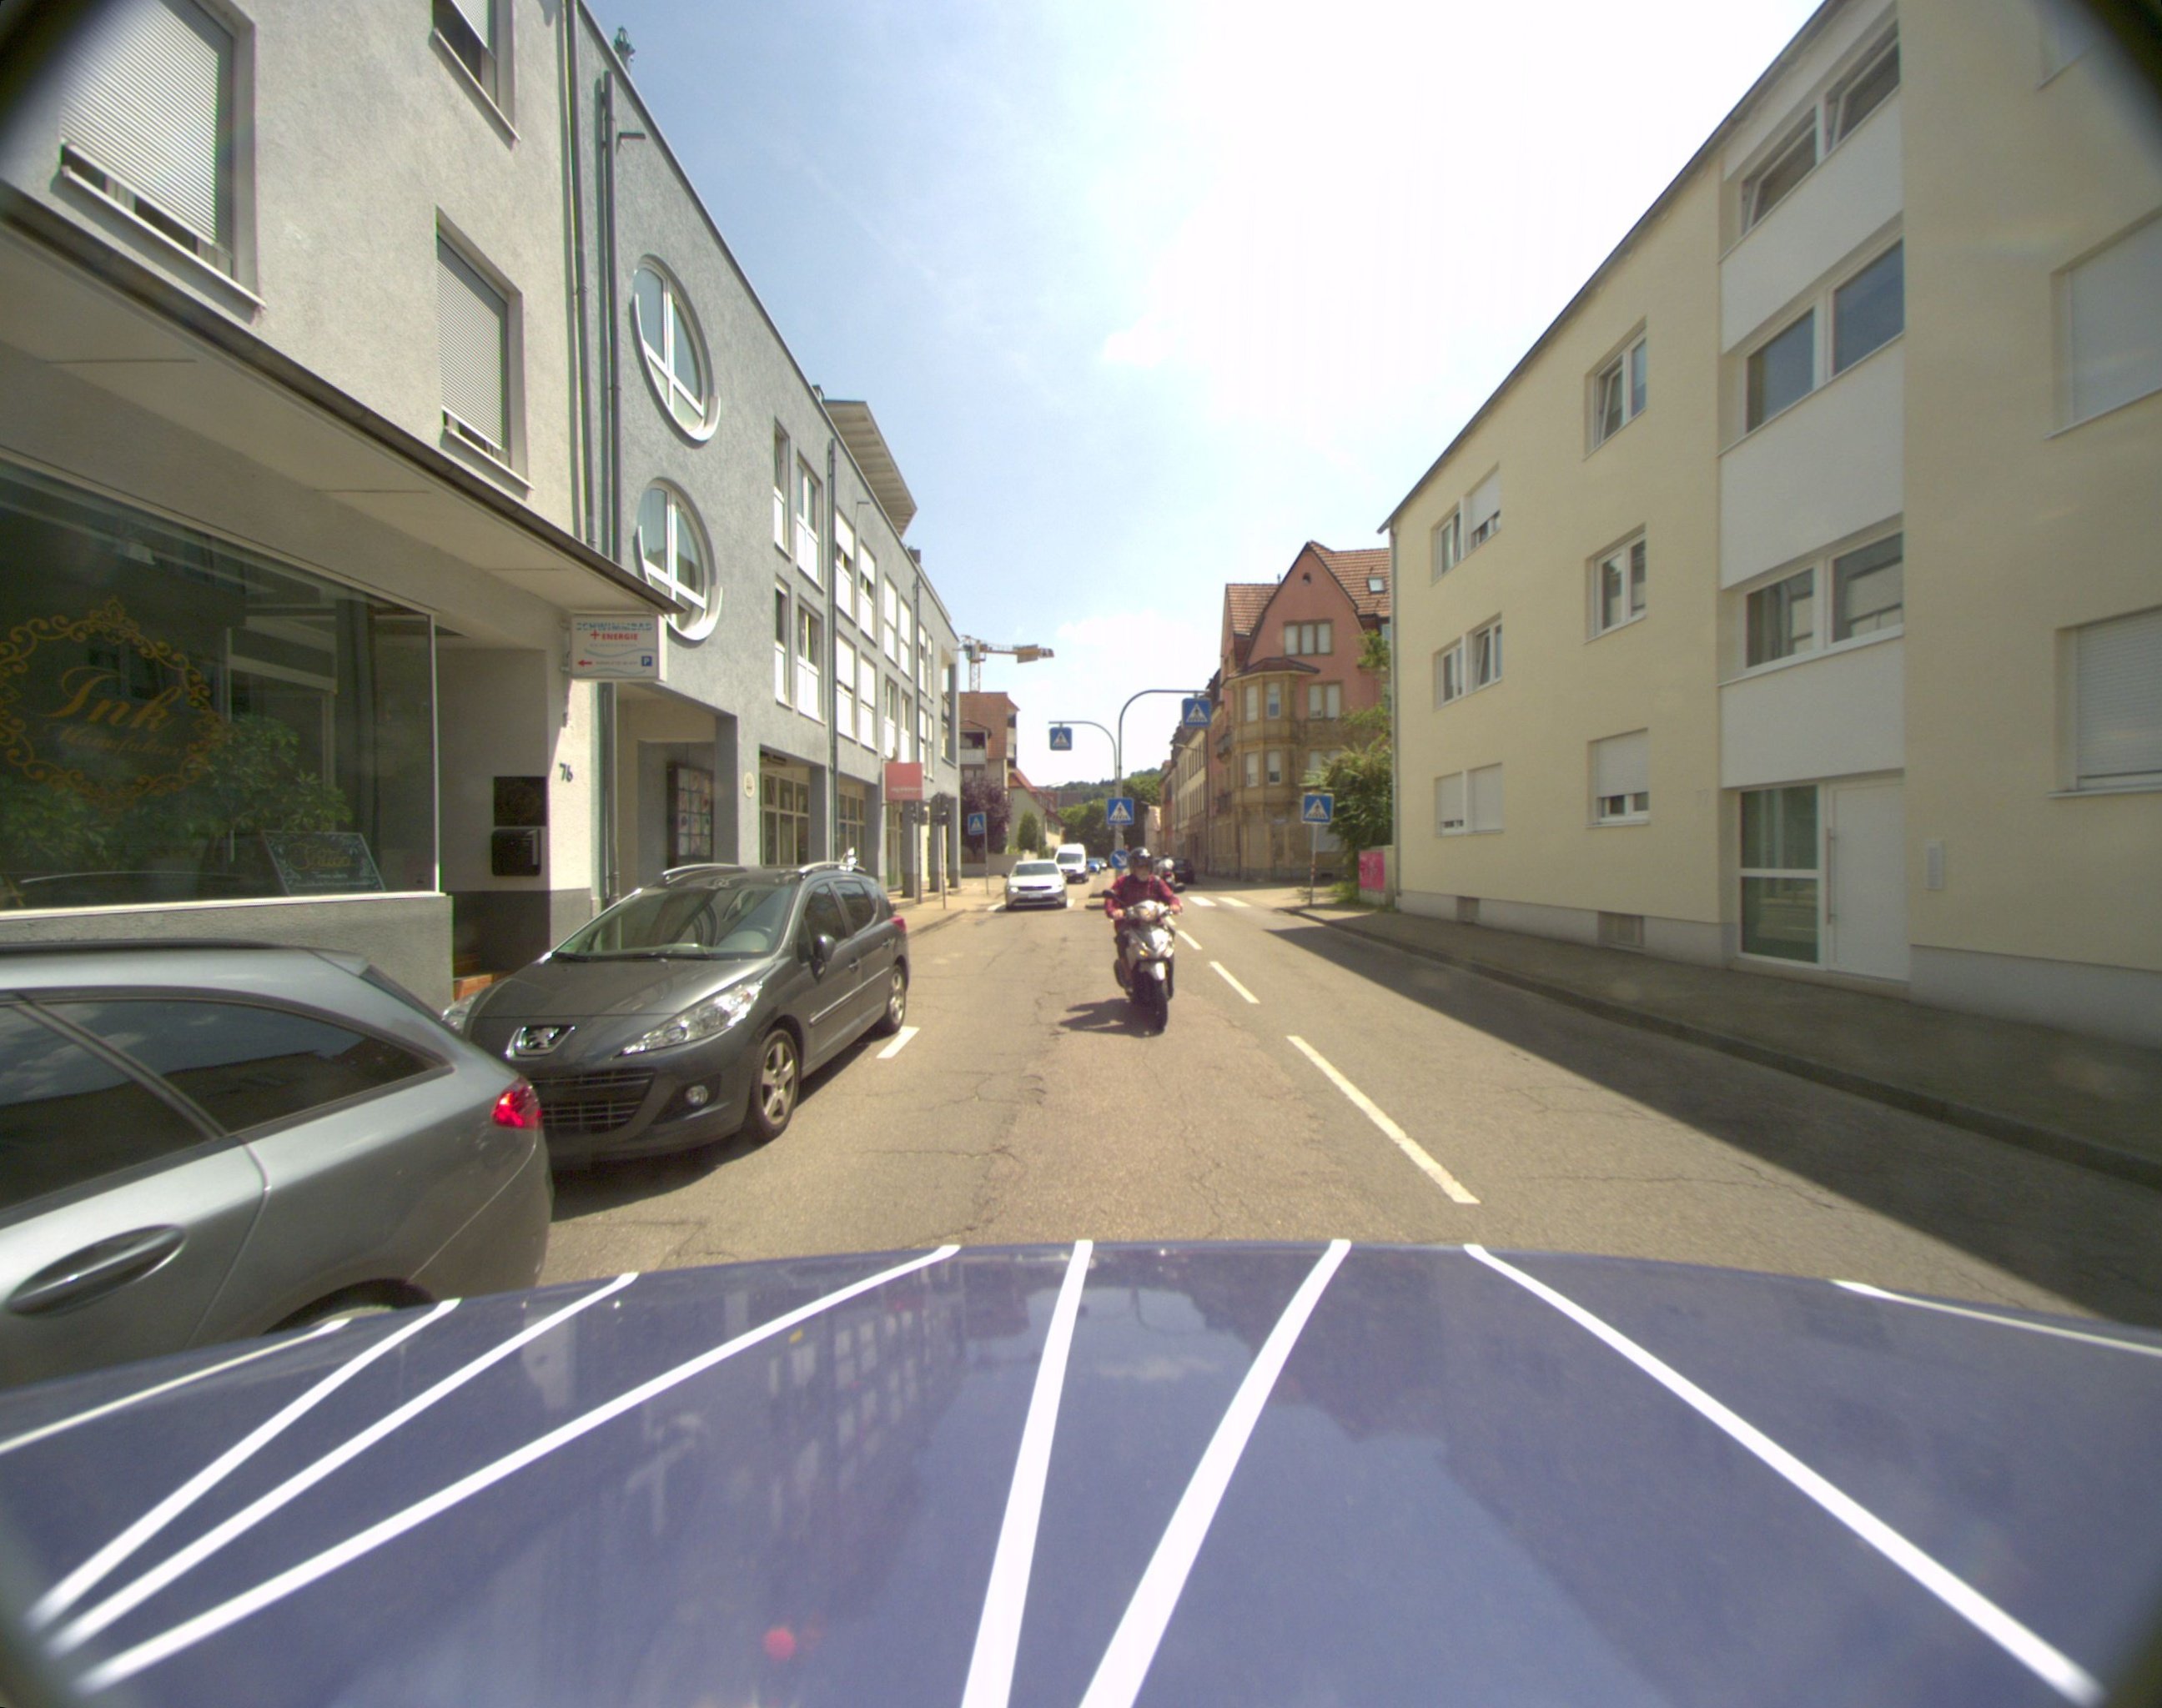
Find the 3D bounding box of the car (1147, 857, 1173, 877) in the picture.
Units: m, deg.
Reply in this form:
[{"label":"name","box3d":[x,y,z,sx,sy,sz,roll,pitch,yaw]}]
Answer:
[{"label":"car","box3d":[5.945,0.978,57.343,1.638,1.423,4.019,1,0,2]}]

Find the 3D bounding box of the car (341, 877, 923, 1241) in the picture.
[{"label":"car","box3d":[-2.437,0.989,5.421,1.714,1.499,4.000,0,0,1]}]

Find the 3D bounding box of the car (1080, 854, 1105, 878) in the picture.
[{"label":"car","box3d":[1.085,1.026,68.230,1.998,2.002,4.001,-2,0,4]}]

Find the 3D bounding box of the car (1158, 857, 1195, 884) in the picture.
[{"label":"car","box3d":[5.433,0.893,43.744,1.787,1.449,4.635,0,0,3]}]

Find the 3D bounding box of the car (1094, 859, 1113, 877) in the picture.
[{"label":"car","box3d":[2.633,1.643,89.237,1.998,2.002,4.001,-2,0,5]}]

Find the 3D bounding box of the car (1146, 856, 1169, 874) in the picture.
[{"label":"car","box3d":[6.298,0.919,62.857,1.602,1.433,3.495,0,0,1]}]

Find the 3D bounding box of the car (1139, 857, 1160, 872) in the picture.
[{"label":"car","box3d":[7.013,1.015,77.720,1.882,1.501,4.382,0,0,2]}]

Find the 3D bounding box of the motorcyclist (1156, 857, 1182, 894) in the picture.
[{"label":"motorcyclist","box3d":[3.561,0.852,30.855,0.918,1.471,1.203,-1,0,1]}]

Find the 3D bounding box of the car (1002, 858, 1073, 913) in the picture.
[{"label":"car","box3d":[-1.211,0.879,23.017,1.812,1.512,4.000,-1,0,1]}]

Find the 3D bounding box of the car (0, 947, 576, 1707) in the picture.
[{"label":"car","box3d":[-2.436,1.010,0.101,1.733,1.412,4.544,0,0,-1]}]

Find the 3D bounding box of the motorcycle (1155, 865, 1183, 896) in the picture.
[{"label":"motorcycle","box3d":[3.561,1.058,30.915,0.898,1.169,2.208,-1,0,1]}]

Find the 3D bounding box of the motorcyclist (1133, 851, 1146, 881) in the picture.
[{"label":"motorcyclist","box3d":[3.289,0.670,42.476,0.714,1.625,1.069,0,0,5]}]

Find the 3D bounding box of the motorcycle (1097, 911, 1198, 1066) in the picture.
[{"label":"motorcycle","box3d":[0.546,1.112,6.868,0.760,1.049,1.992,-1,0,2]}]

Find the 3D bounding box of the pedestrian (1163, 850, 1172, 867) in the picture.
[{"label":"pedestrian","box3d":[9.271,0.461,81.316,0.770,1.760,0.764,-2,0,1]}]

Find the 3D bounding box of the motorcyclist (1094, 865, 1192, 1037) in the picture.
[{"label":"motorcyclist","box3d":[0.540,0.827,6.912,0.793,1.431,1.020,-1,0,2]}]

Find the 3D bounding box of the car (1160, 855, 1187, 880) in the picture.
[{"label":"car","box3d":[5.841,0.826,48.027,1.440,1.514,2.695,0,0,2]}]

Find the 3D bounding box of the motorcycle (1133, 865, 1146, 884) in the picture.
[{"label":"motorcycle","box3d":[3.290,1.116,42.536,0.714,1.022,2.240,0,0,5]}]

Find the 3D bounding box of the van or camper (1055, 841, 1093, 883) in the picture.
[{"label":"van or camper","box3d":[-0.322,0.443,43.300,1.998,2.273,5.145,0,0,1]}]
